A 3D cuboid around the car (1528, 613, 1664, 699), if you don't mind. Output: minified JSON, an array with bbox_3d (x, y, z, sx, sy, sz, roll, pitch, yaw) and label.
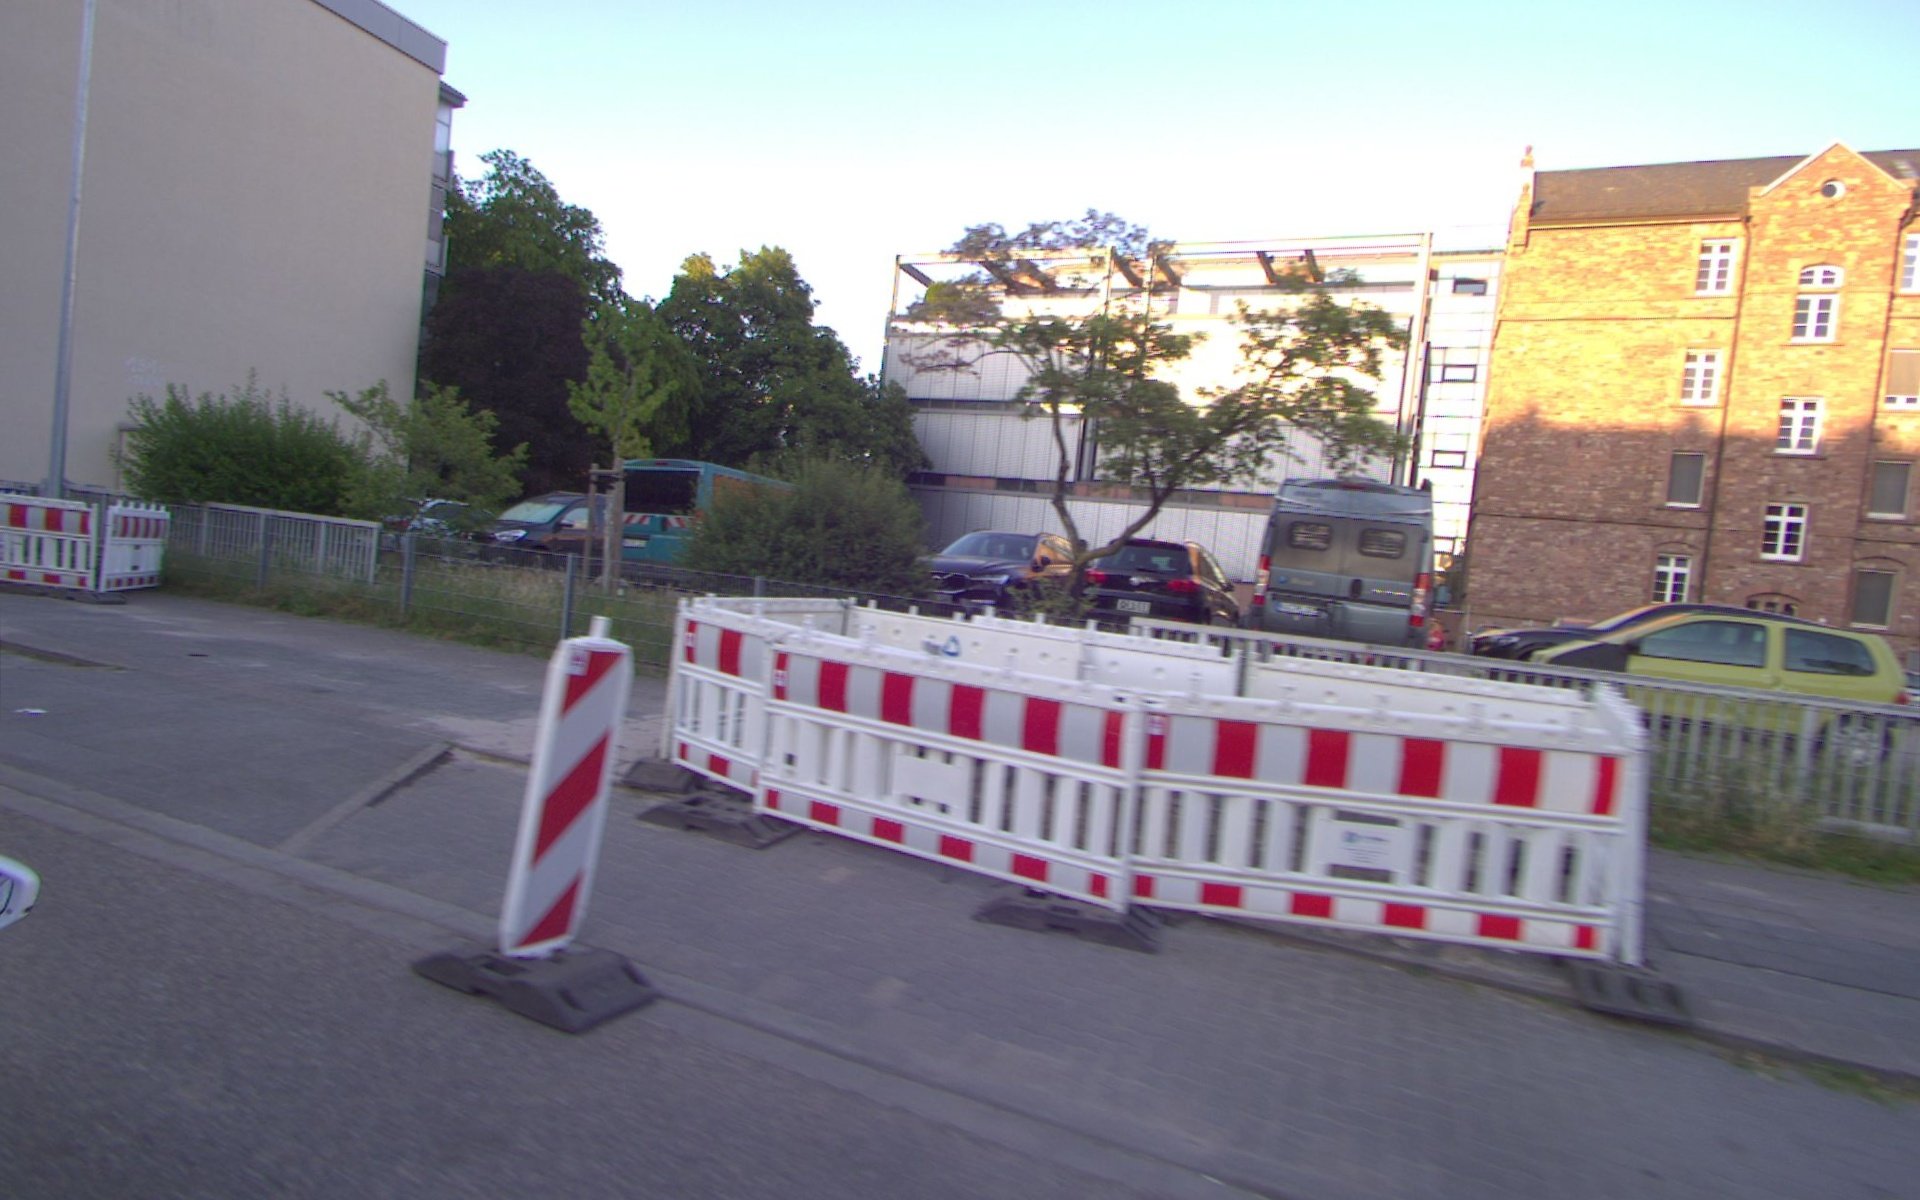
[{"bbox_3d":[14.767,1.231,23.624,1.964,1.597,4.357,7,2,25],"label":"car"}]

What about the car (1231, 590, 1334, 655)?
[{"bbox_3d":[8.442,0.566,26.078,1.911,1.323,4.357,7,2,25],"label":"car"}]

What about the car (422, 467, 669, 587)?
[{"bbox_3d":[-8.017,-1.341,19.883,1.964,1.850,4.220,7,2,24],"label":"car"}]

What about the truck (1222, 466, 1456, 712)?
[{"bbox_3d":[5.443,-0.135,14.062,2.300,2.652,4.964,7,2,25],"label":"truck"}]

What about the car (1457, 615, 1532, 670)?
[{"bbox_3d":[18.258,1.408,34.532,1.868,1.558,4.172,7,2,25],"label":"car"}]

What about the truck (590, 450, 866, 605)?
[{"bbox_3d":[-3.822,-1.141,17.431,2.075,2.118,4.503,7,2,28],"label":"truck"}]

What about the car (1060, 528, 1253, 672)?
[{"bbox_3d":[3.125,0.004,15.295,1.963,1.715,3.994,7,2,22],"label":"car"}]

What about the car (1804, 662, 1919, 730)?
[{"bbox_3d":[27.190,2.814,30.027,1.868,1.558,4.172,7,2,25],"label":"car"}]

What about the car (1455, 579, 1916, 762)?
[{"bbox_3d":[9.058,0.795,13.122,4.517,1.660,1.572,7,2,26],"label":"car"}]

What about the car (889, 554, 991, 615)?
[{"bbox_3d":[-0.547,-0.430,30.375,1.744,1.536,3.212,7,2,24],"label":"car"}]

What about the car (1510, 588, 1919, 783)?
[{"bbox_3d":[8.148,0.832,10.937,3.579,1.524,1.634,7,2,26],"label":"car"}]

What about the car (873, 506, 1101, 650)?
[{"bbox_3d":[0.591,-0.295,15.564,1.963,1.750,4.295,7,2,22],"label":"car"}]

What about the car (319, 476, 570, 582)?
[{"bbox_3d":[-10.469,-1.382,20.786,1.964,1.669,4.220,7,2,24],"label":"car"}]
